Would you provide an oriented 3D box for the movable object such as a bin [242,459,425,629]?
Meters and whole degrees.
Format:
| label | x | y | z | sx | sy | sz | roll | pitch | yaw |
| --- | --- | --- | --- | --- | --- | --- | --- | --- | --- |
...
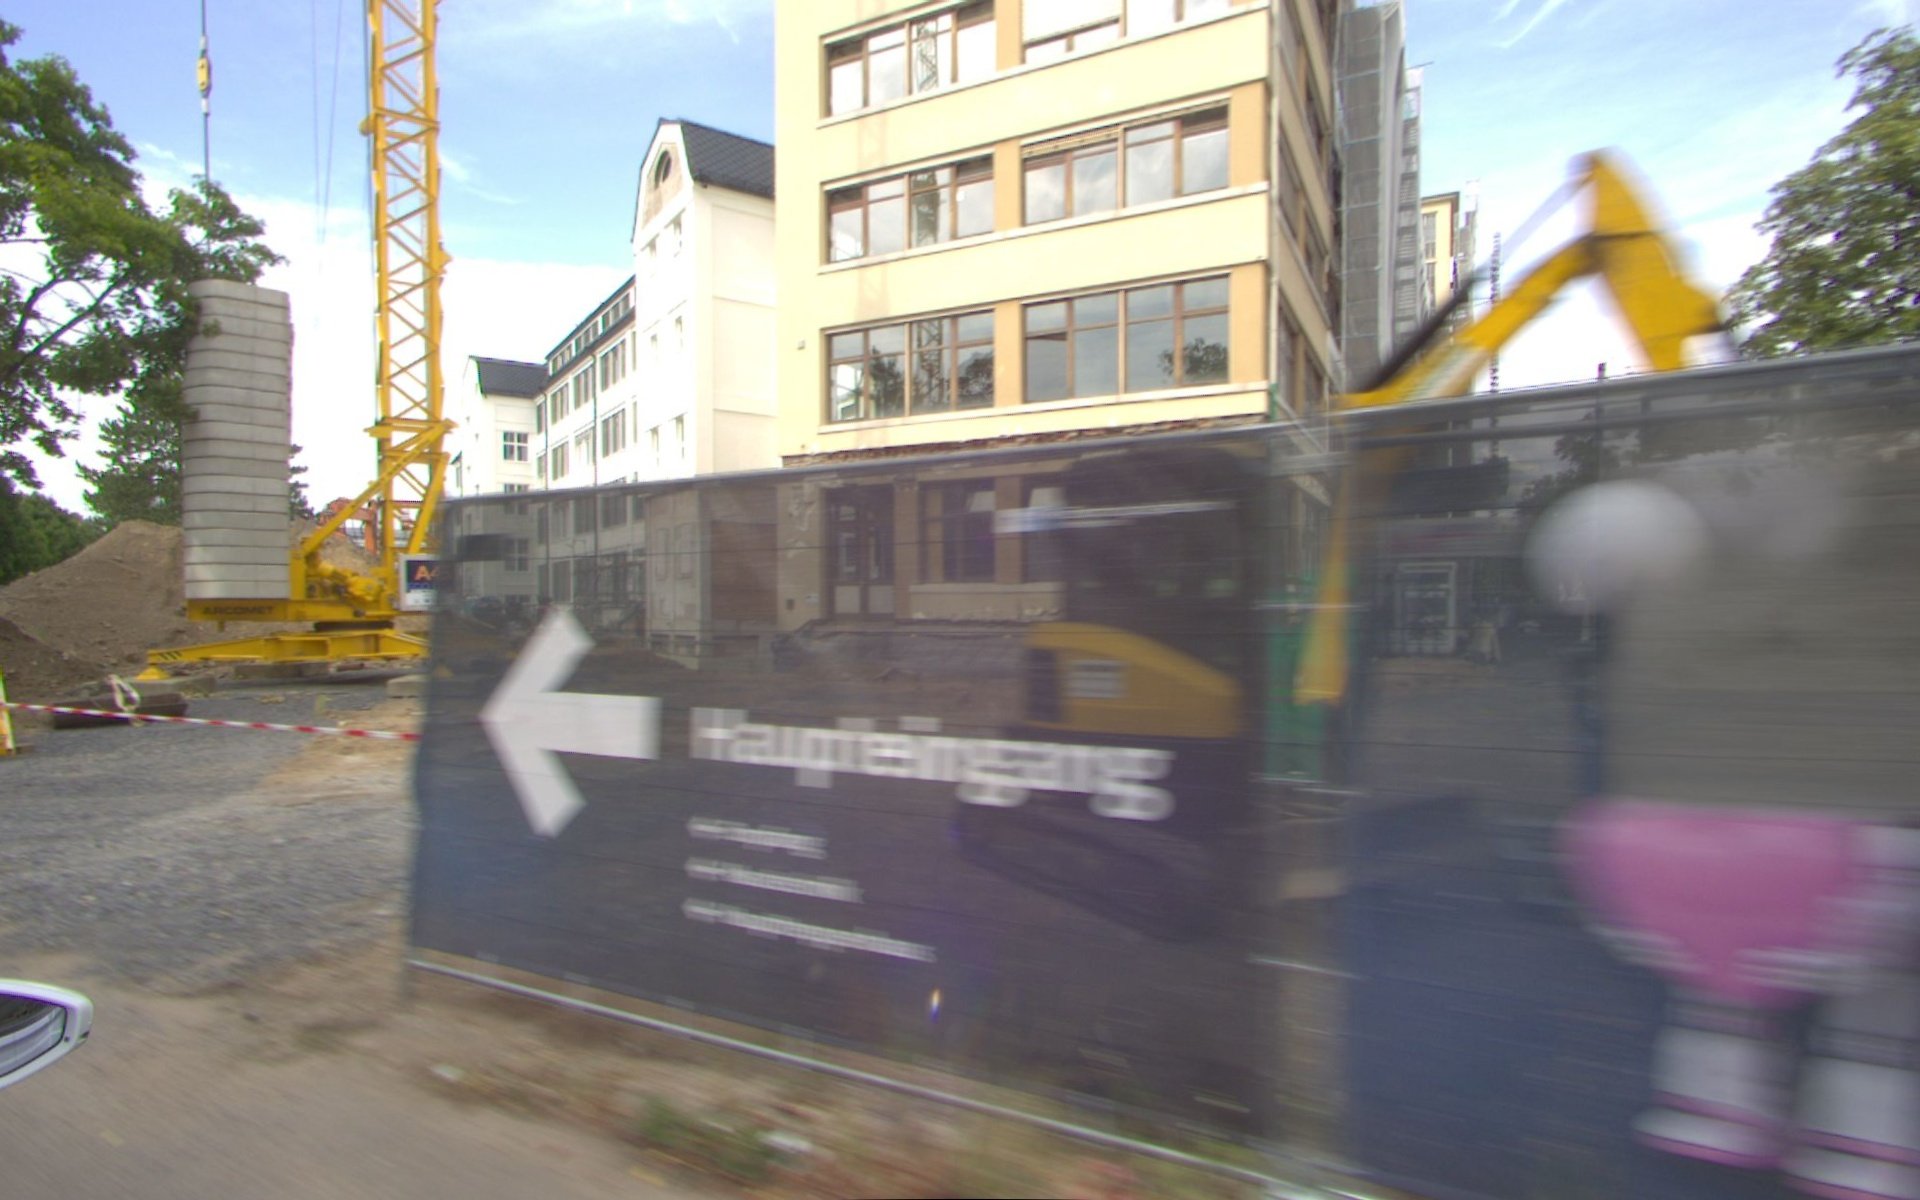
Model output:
| label | x | y | z | sx | sy | sz | roll | pitch | yaw |
| --- | --- | --- | --- | --- | --- | --- | --- | --- | --- |
| movable object such as a bin | -28.093 | -2.178 | 45.726 | 3.787 | 6.757 | 10.973 | 1 | 0 | -14 |

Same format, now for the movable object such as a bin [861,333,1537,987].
| label | x | y | z | sx | sy | sz | roll | pitch | yaw |
| --- | --- | --- | --- | --- | --- | --- | --- | --- | --- |
| movable object such as a bin | 1.391 | 0.251 | 5.702 | 3.021 | 2.475 | 2.482 | 0 | 0 | 37 |
